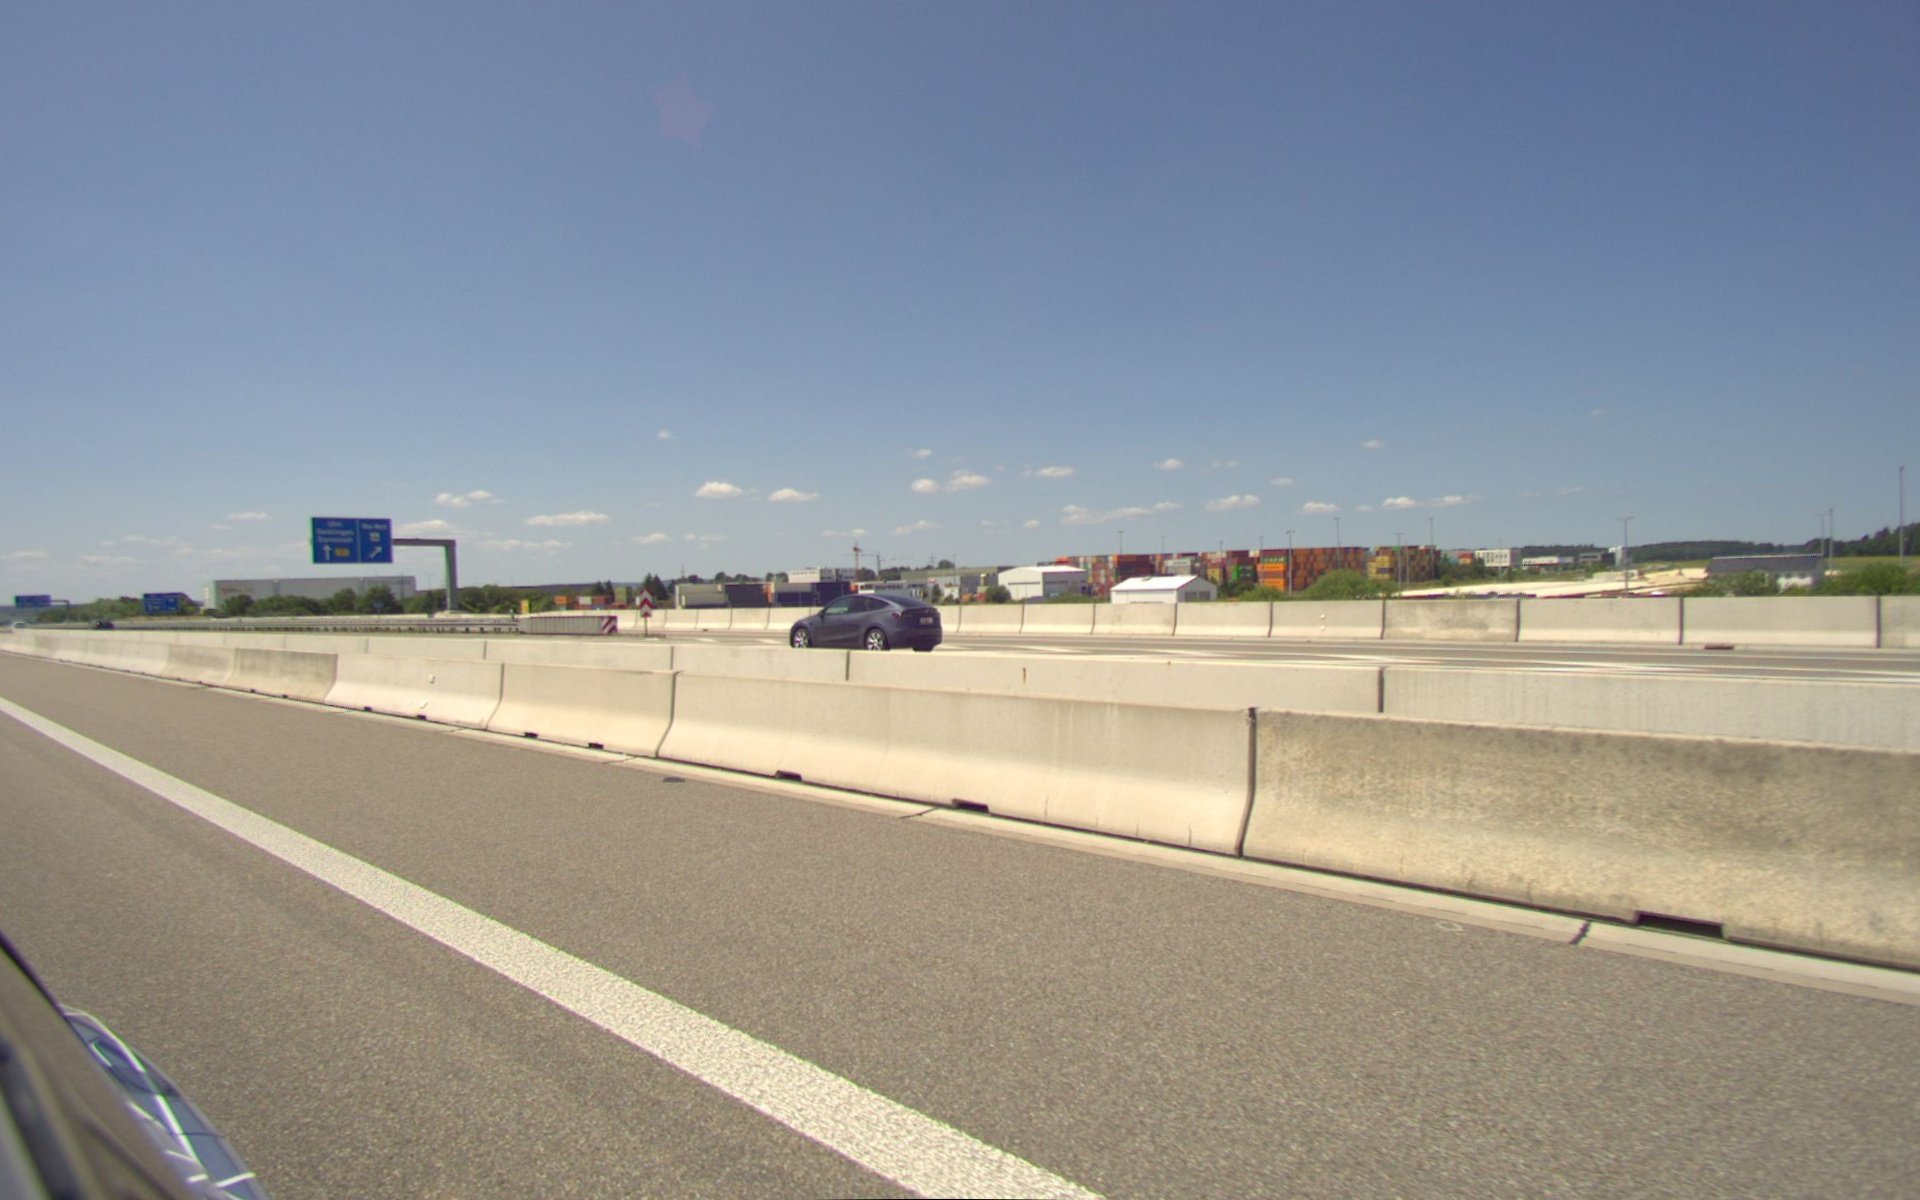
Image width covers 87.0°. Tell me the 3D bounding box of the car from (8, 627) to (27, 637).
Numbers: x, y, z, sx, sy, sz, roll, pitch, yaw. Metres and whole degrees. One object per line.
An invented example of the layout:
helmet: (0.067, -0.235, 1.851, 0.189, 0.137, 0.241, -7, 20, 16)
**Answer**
car: (-145.317, 4.922, 155.979, 4.440, 1.446, 1.790, -2, 0, 42)

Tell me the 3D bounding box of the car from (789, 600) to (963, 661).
car: (-2.265, 0.785, 26.470, 4.548, 1.431, 1.891, -2, 0, 42)

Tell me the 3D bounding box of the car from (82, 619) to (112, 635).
car: (-88.948, 2.778, 104.304, 4.547, 1.548, 1.714, -2, 0, 42)
